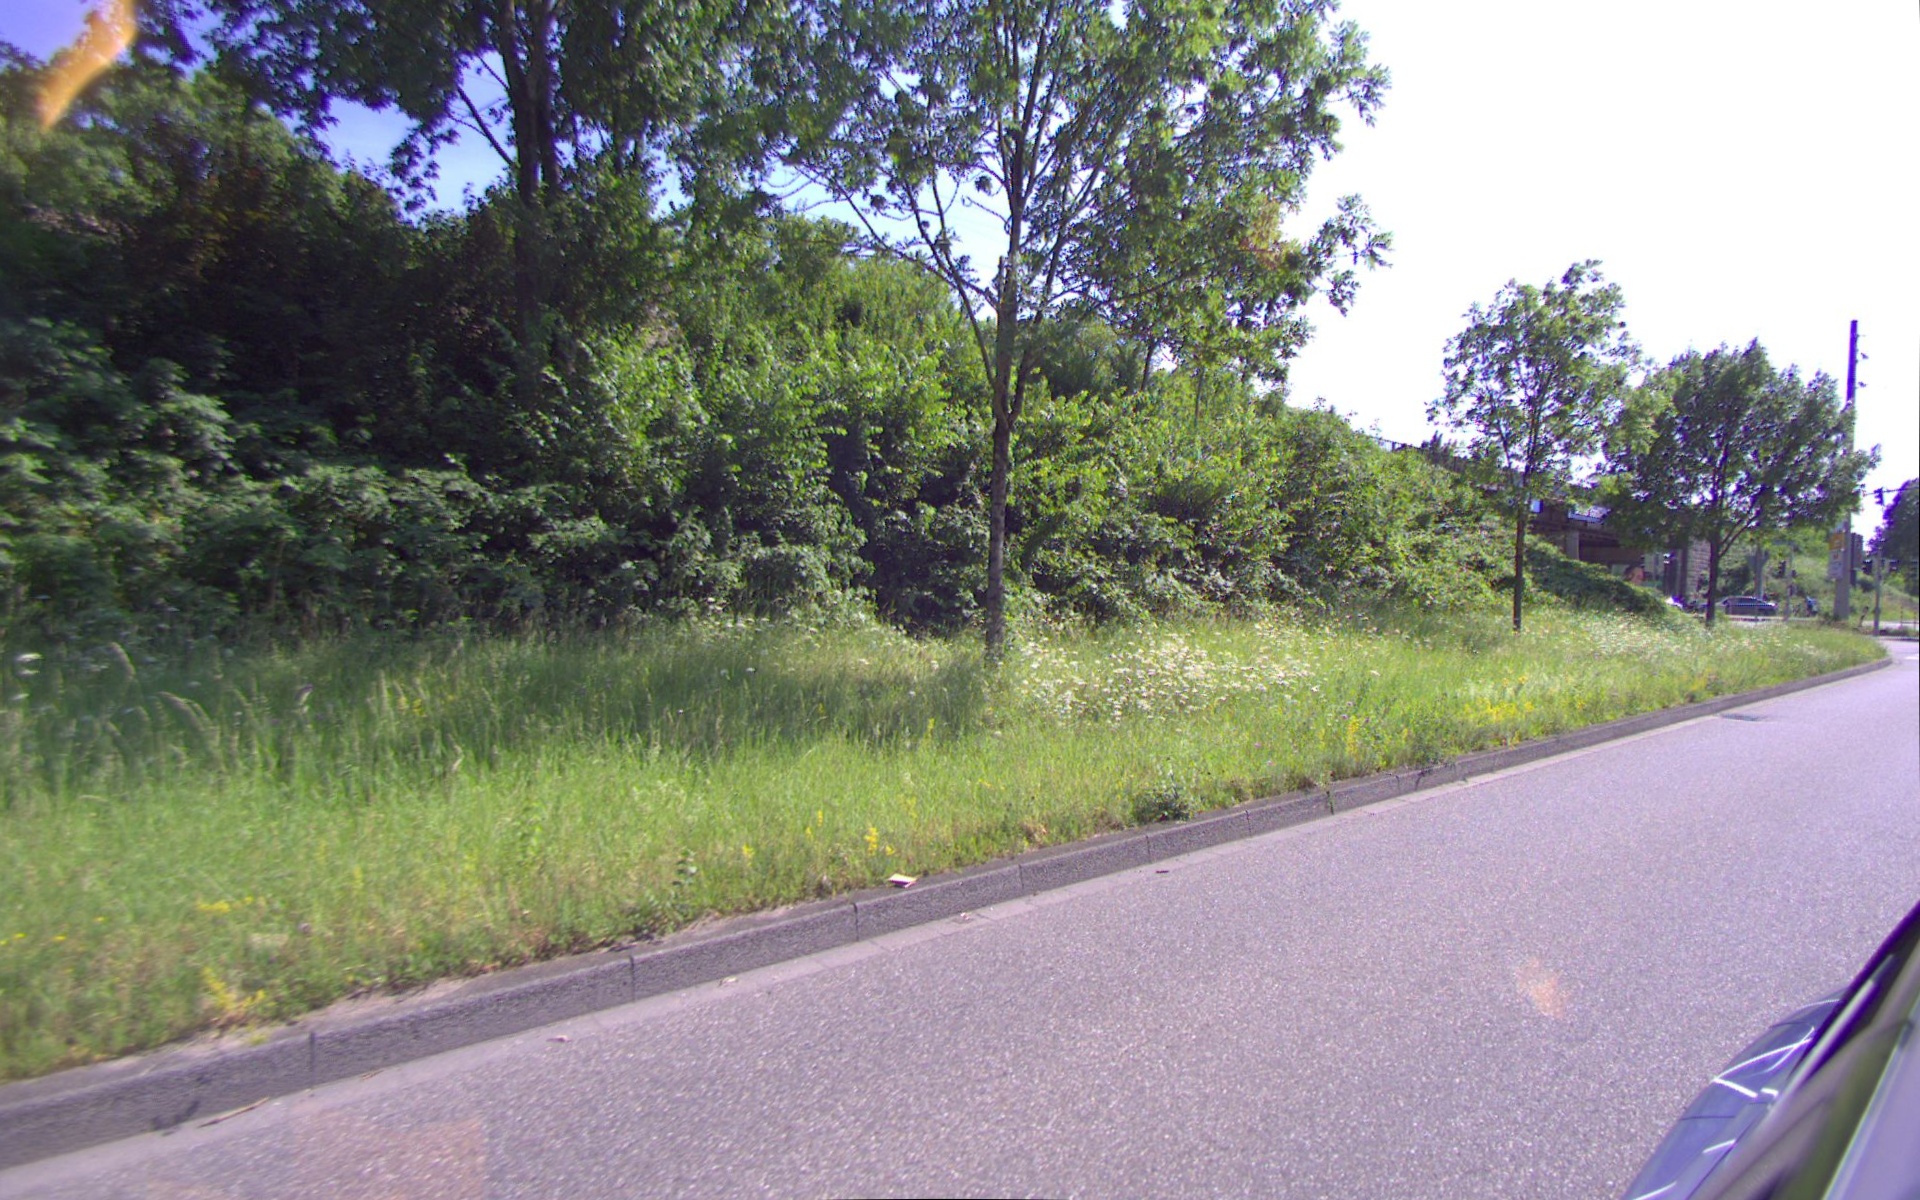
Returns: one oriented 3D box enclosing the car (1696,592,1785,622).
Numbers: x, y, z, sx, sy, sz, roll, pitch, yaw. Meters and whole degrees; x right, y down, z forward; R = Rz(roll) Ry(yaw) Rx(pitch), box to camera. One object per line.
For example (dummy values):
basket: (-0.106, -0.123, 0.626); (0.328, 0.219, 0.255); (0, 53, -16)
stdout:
car: (48.870, 0.431, 63.443); (3.950, 1.634, 1.807); (3, -1, 20)
